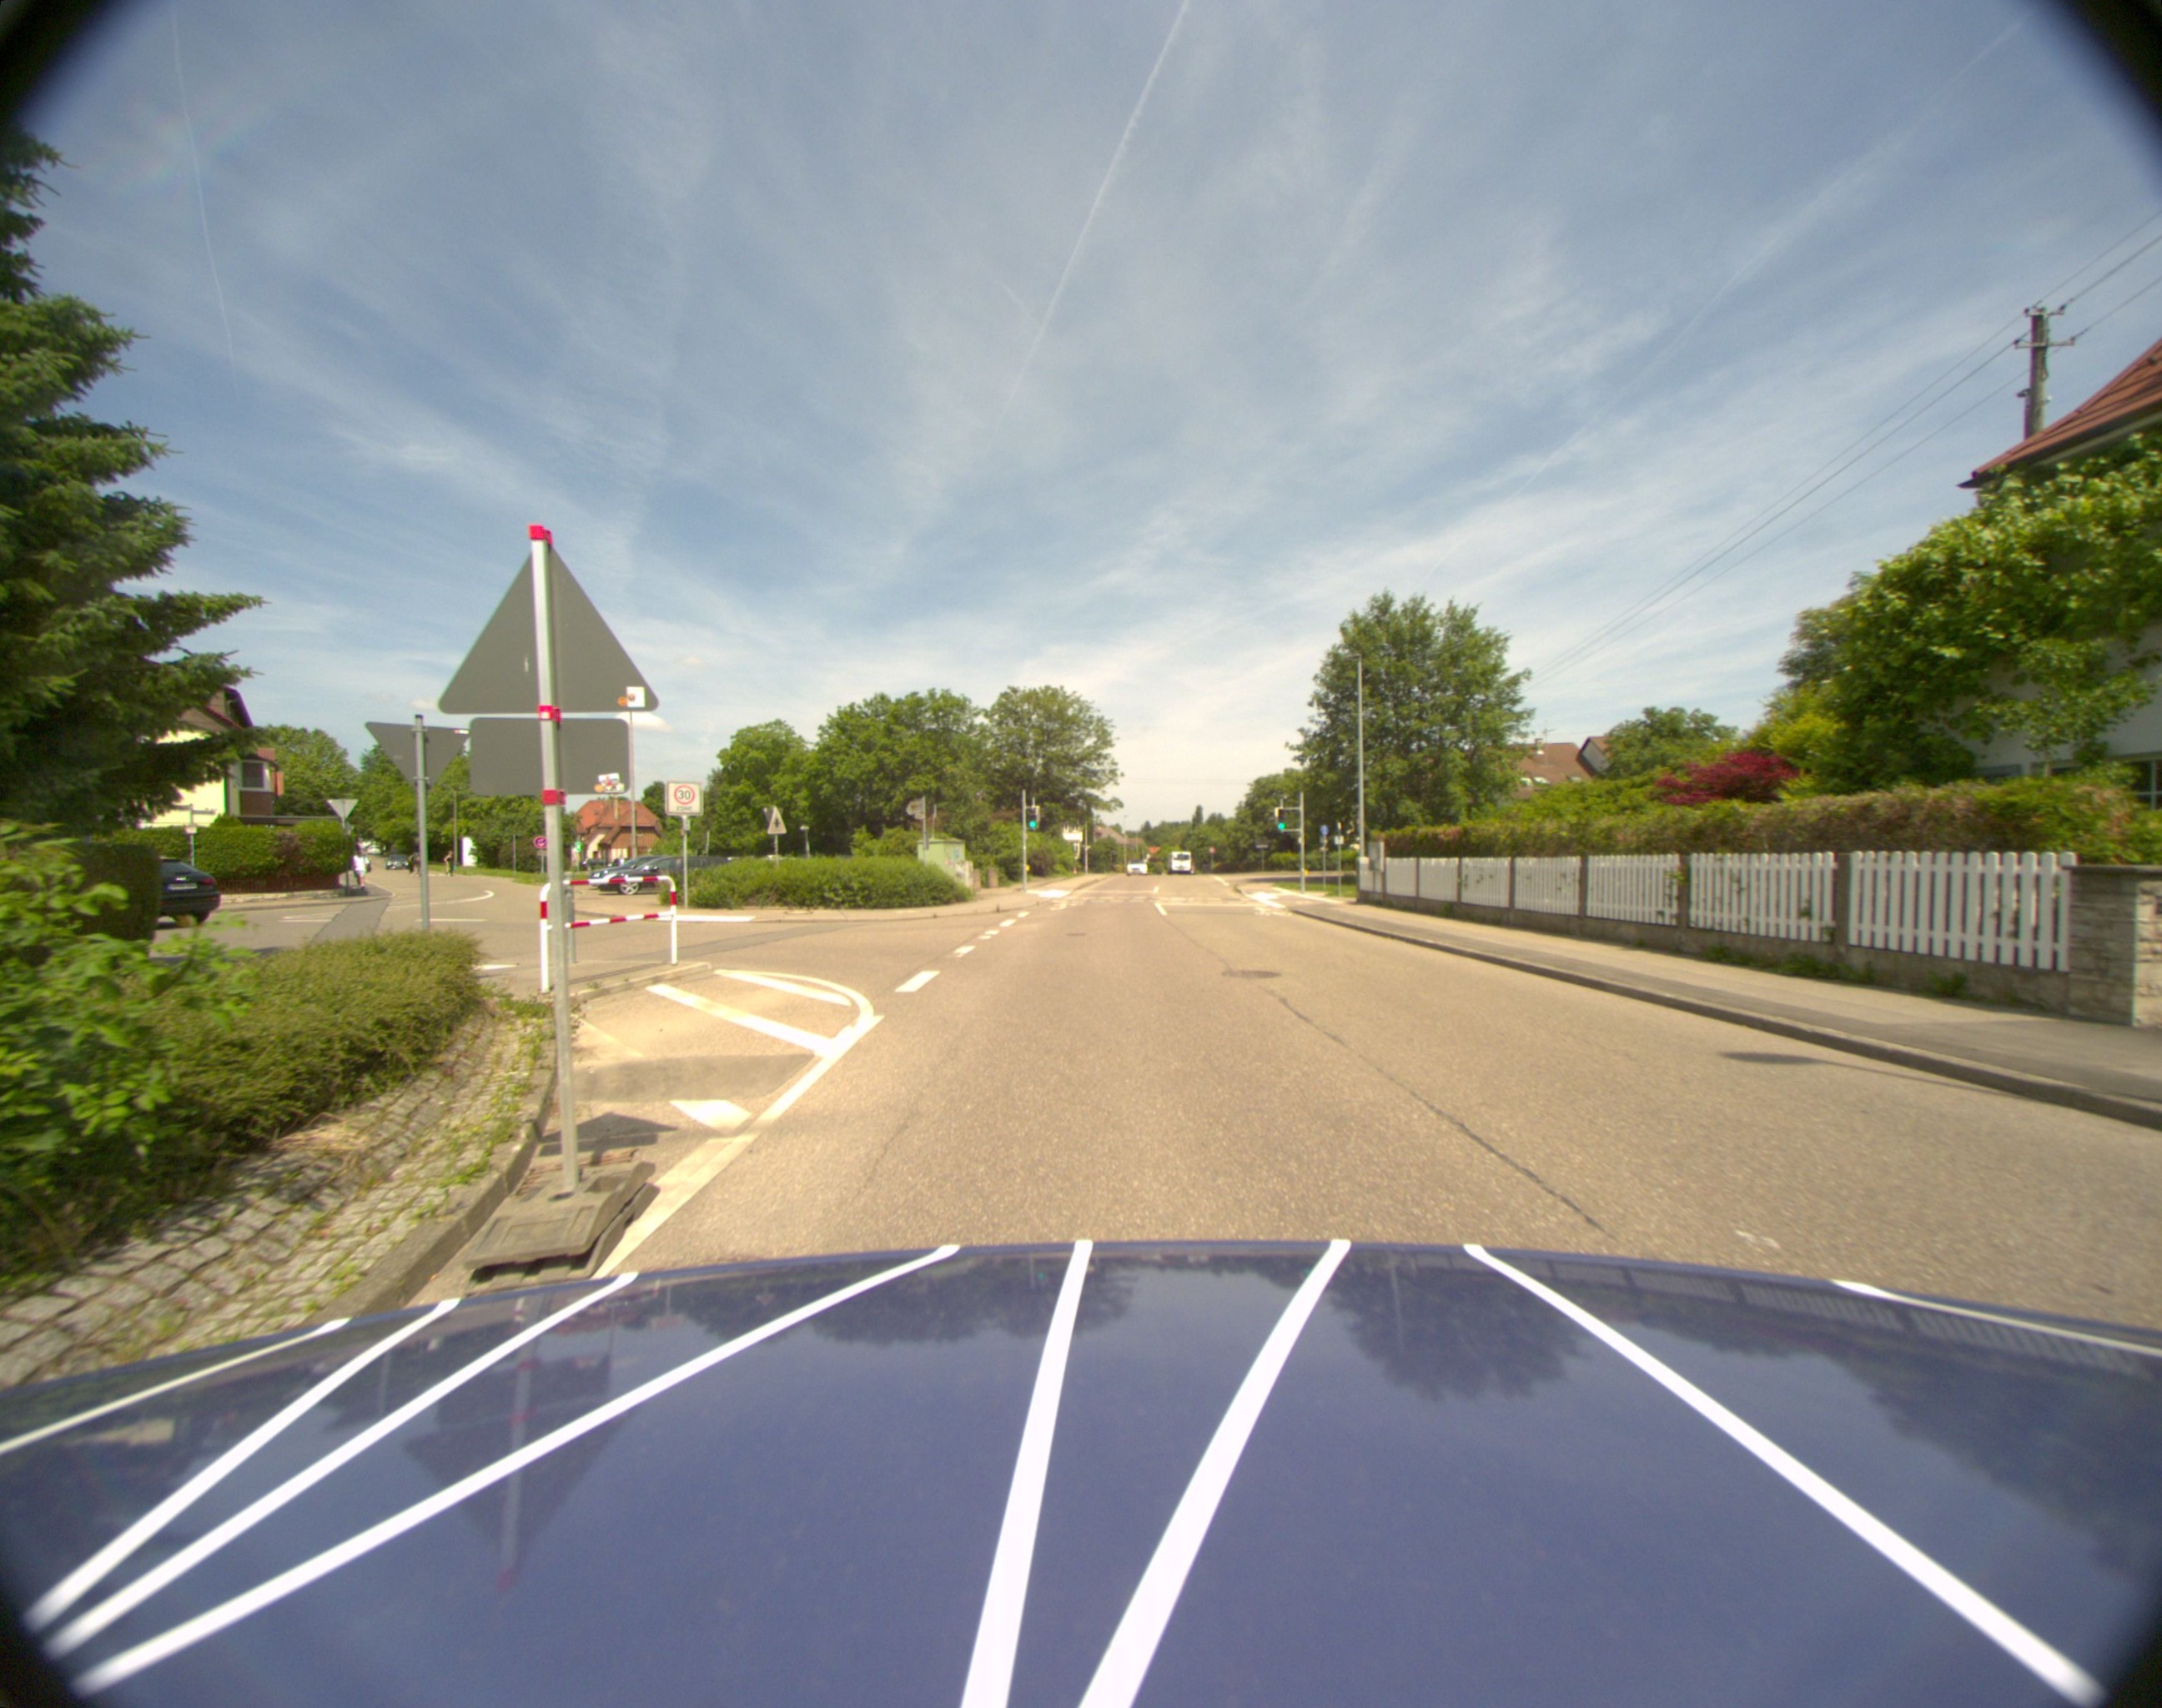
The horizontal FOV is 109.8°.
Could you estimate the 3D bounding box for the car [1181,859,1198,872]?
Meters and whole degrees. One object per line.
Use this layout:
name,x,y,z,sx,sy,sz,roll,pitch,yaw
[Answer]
car,12.204,1.304,85.293,1.783,1.386,4.412,0,0,7

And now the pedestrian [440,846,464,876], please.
pedestrian,-43.204,0.467,52.200,1.106,2.002,1.007,-1,1,-30

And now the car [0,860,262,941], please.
car,-20.345,0.943,16.118,3.909,1.547,1.773,0,2,-1

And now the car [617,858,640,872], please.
car,-46.425,1.129,77.950,1.843,1.407,3.990,0,0,-33

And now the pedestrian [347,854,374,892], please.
pedestrian,-31.078,0.818,32.780,0.781,1.596,0.797,-1,1,-42

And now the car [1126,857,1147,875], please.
car,4.976,1.109,68.086,1.826,1.542,4.002,0,-1,4

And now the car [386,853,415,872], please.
car,-65.977,0.818,73.634,2.004,1.717,3.988,-1,0,-43

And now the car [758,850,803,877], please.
car,-19.134,0.610,48.260,1.610,1.608,3.727,-1,0,-39

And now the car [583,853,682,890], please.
car,-19.209,0.723,32.619,3.441,1.476,1.413,0,0,-43

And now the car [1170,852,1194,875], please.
car,9.019,0.884,67.893,1.883,1.953,4.905,0,-1,5

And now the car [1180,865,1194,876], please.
car,15.301,2.476,110.144,1.815,1.540,4.246,0,-2,5

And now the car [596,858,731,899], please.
car,-15.702,0.874,28.687,4.293,1.390,1.396,0,0,-37
